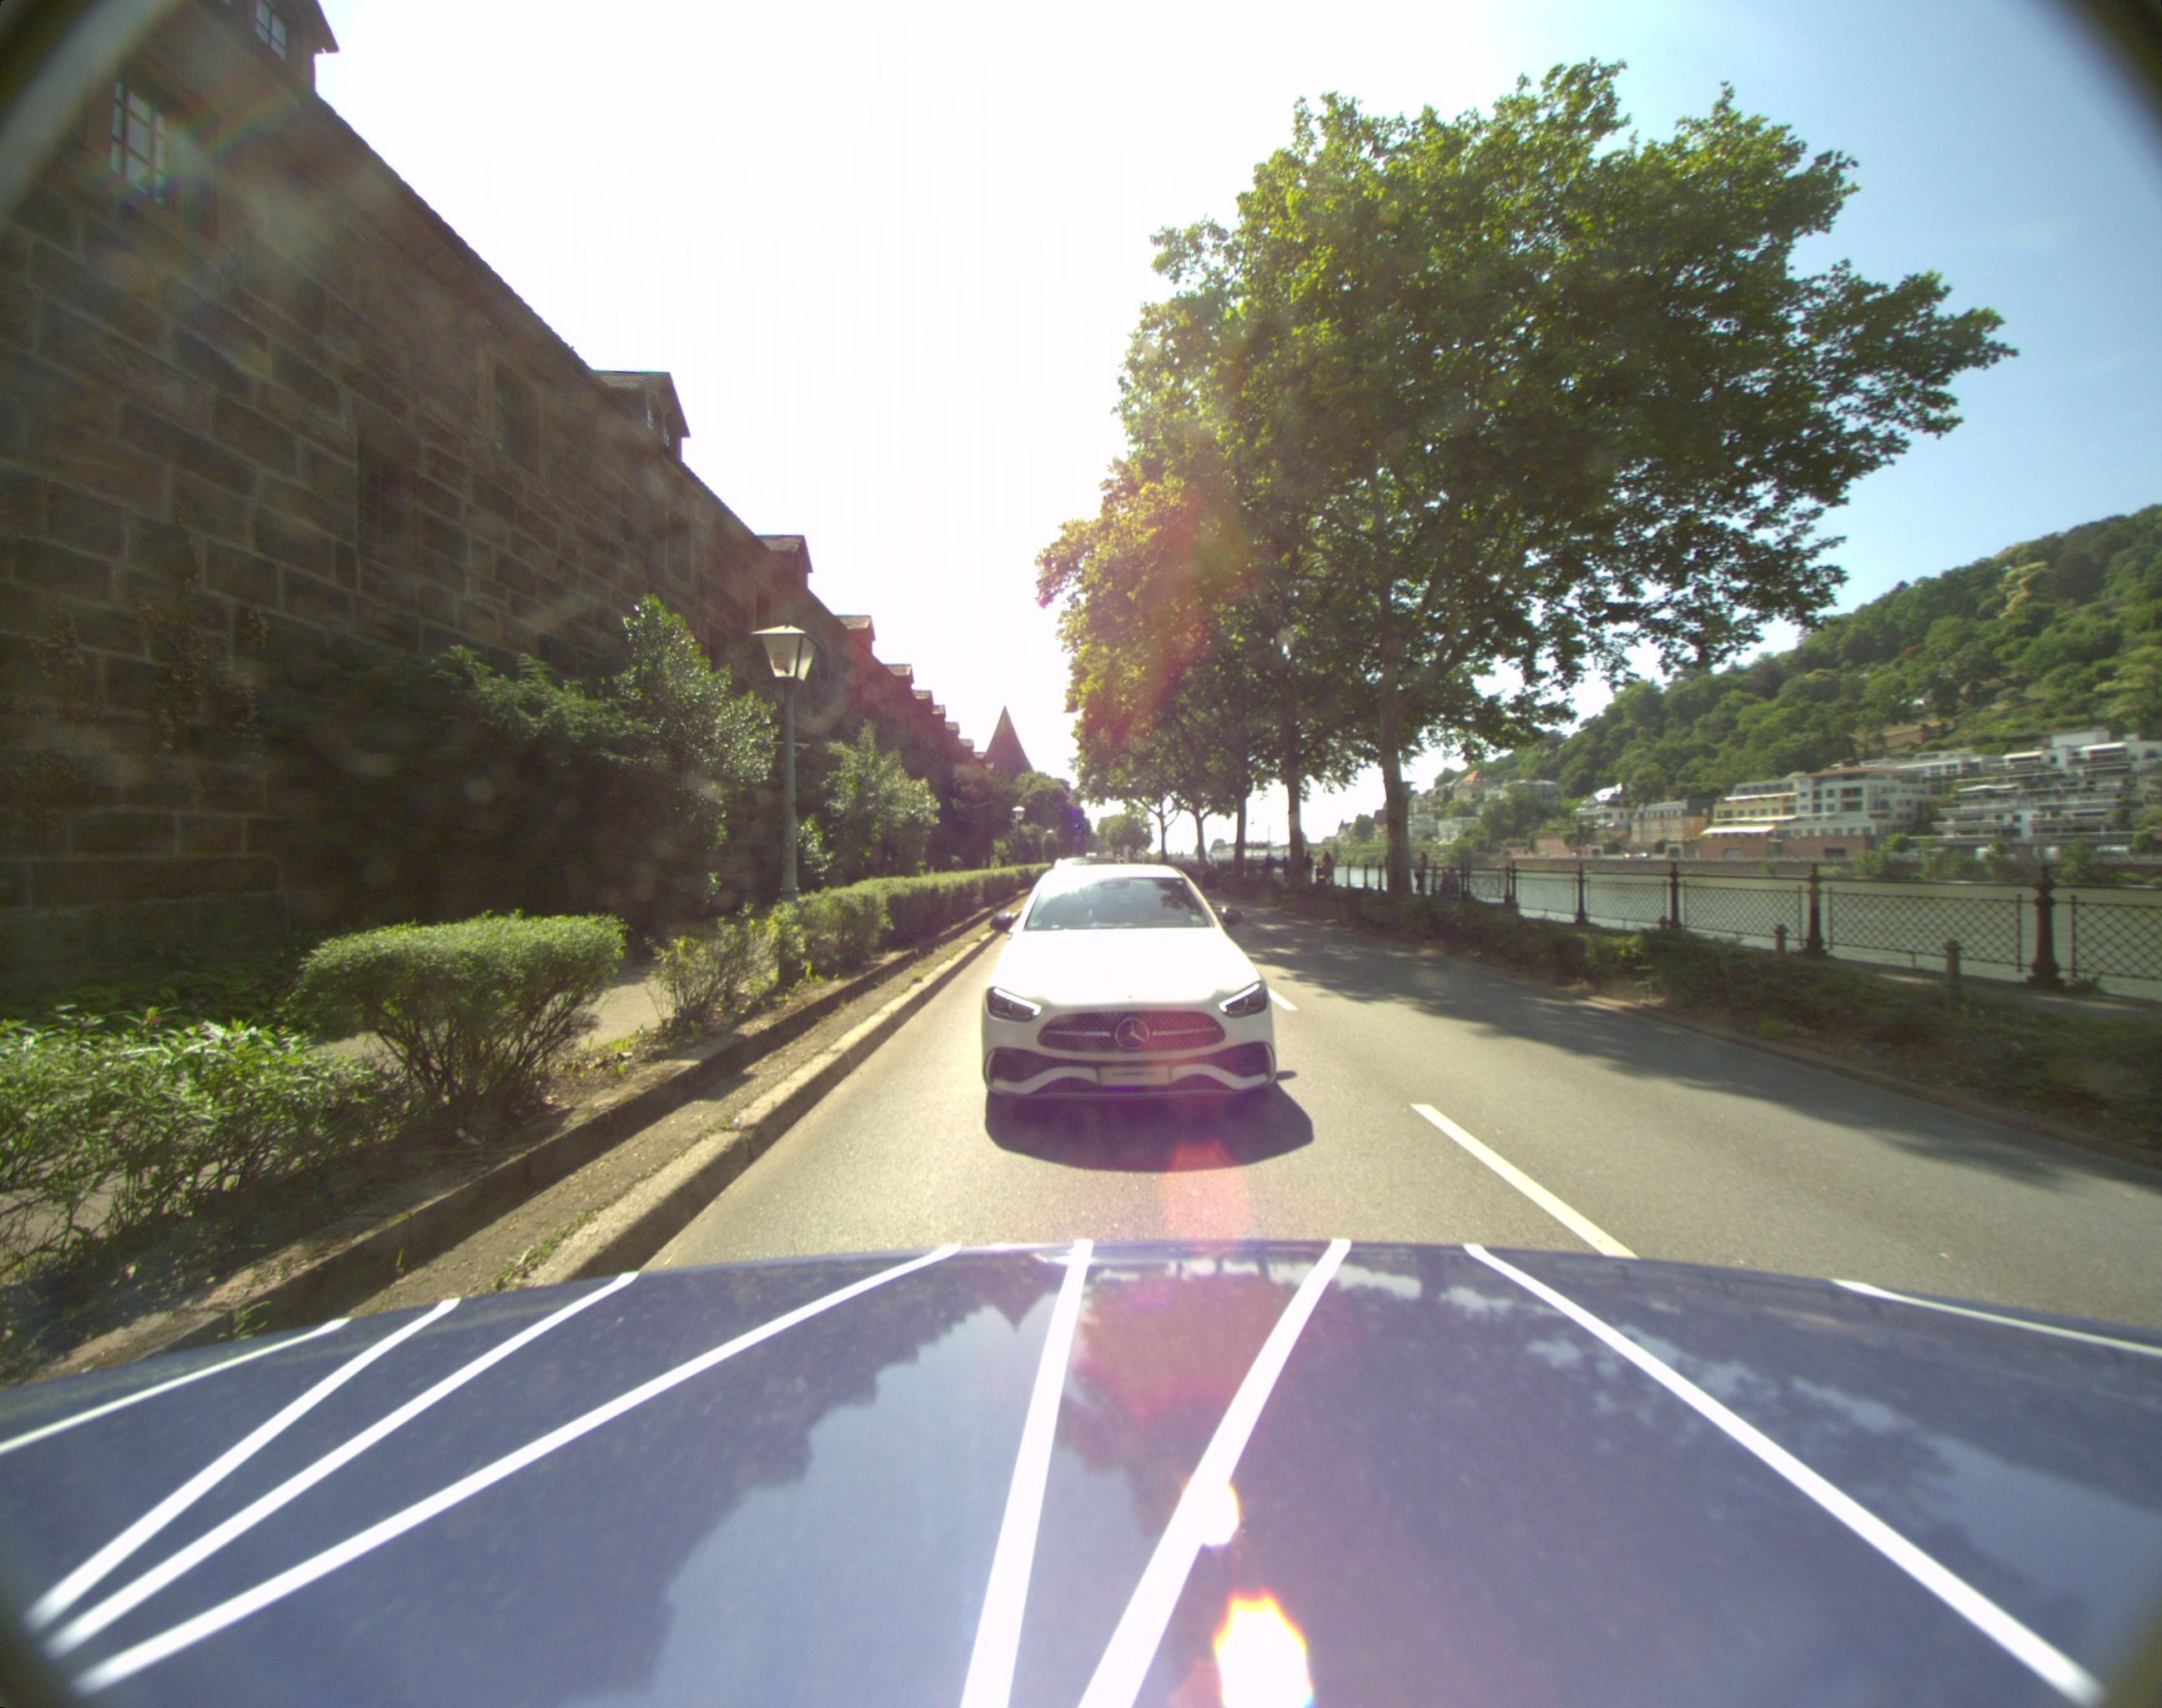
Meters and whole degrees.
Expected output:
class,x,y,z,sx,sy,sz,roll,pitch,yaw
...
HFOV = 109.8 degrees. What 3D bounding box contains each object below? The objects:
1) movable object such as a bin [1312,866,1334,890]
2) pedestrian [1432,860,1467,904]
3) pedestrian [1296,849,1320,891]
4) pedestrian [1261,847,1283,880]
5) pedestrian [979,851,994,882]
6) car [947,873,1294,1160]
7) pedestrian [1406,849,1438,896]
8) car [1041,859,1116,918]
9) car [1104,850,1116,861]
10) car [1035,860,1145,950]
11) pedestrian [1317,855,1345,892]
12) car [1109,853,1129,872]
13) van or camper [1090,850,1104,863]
class,x,y,z,sx,sy,sz,roll,pitch,yaw
movable object such as a bin,11.169,1.095,35.111,0.704,1.043,0.783,-2,1,-4
pedestrian,12.057,0.908,24.893,0.768,1.379,0.770,1,0,0
pedestrian,10.404,0.719,34.829,0.806,1.839,0.929,-2,1,1
pedestrian,12.057,0.602,47.965,1.047,2.002,1.036,-1,1,31
pedestrian,-4.884,0.650,39.240,0.643,1.555,0.563,-2,1,1
car,0.242,0.937,6.258,1.833,1.395,4.270,-2,0,1
pedestrian,12.845,0.689,28.620,0.777,1.748,0.830,1,1,0
car,-0.032,0.893,21.480,1.833,1.395,4.424,-2,0,1
car,5.837,0.239,152.085,2.165,2.002,4.000,-2,1,1
car,0.181,0.887,15.100,1.833,1.428,4.270,-2,0,1
pedestrian,11.246,0.871,34.185,0.897,1.625,1.059,-2,1,2
car,4.370,0.921,87.629,2.165,2.002,4.000,-2,1,1
van or camper,2.831,0.440,136.835,2.313,2.358,5.035,1,0,0
